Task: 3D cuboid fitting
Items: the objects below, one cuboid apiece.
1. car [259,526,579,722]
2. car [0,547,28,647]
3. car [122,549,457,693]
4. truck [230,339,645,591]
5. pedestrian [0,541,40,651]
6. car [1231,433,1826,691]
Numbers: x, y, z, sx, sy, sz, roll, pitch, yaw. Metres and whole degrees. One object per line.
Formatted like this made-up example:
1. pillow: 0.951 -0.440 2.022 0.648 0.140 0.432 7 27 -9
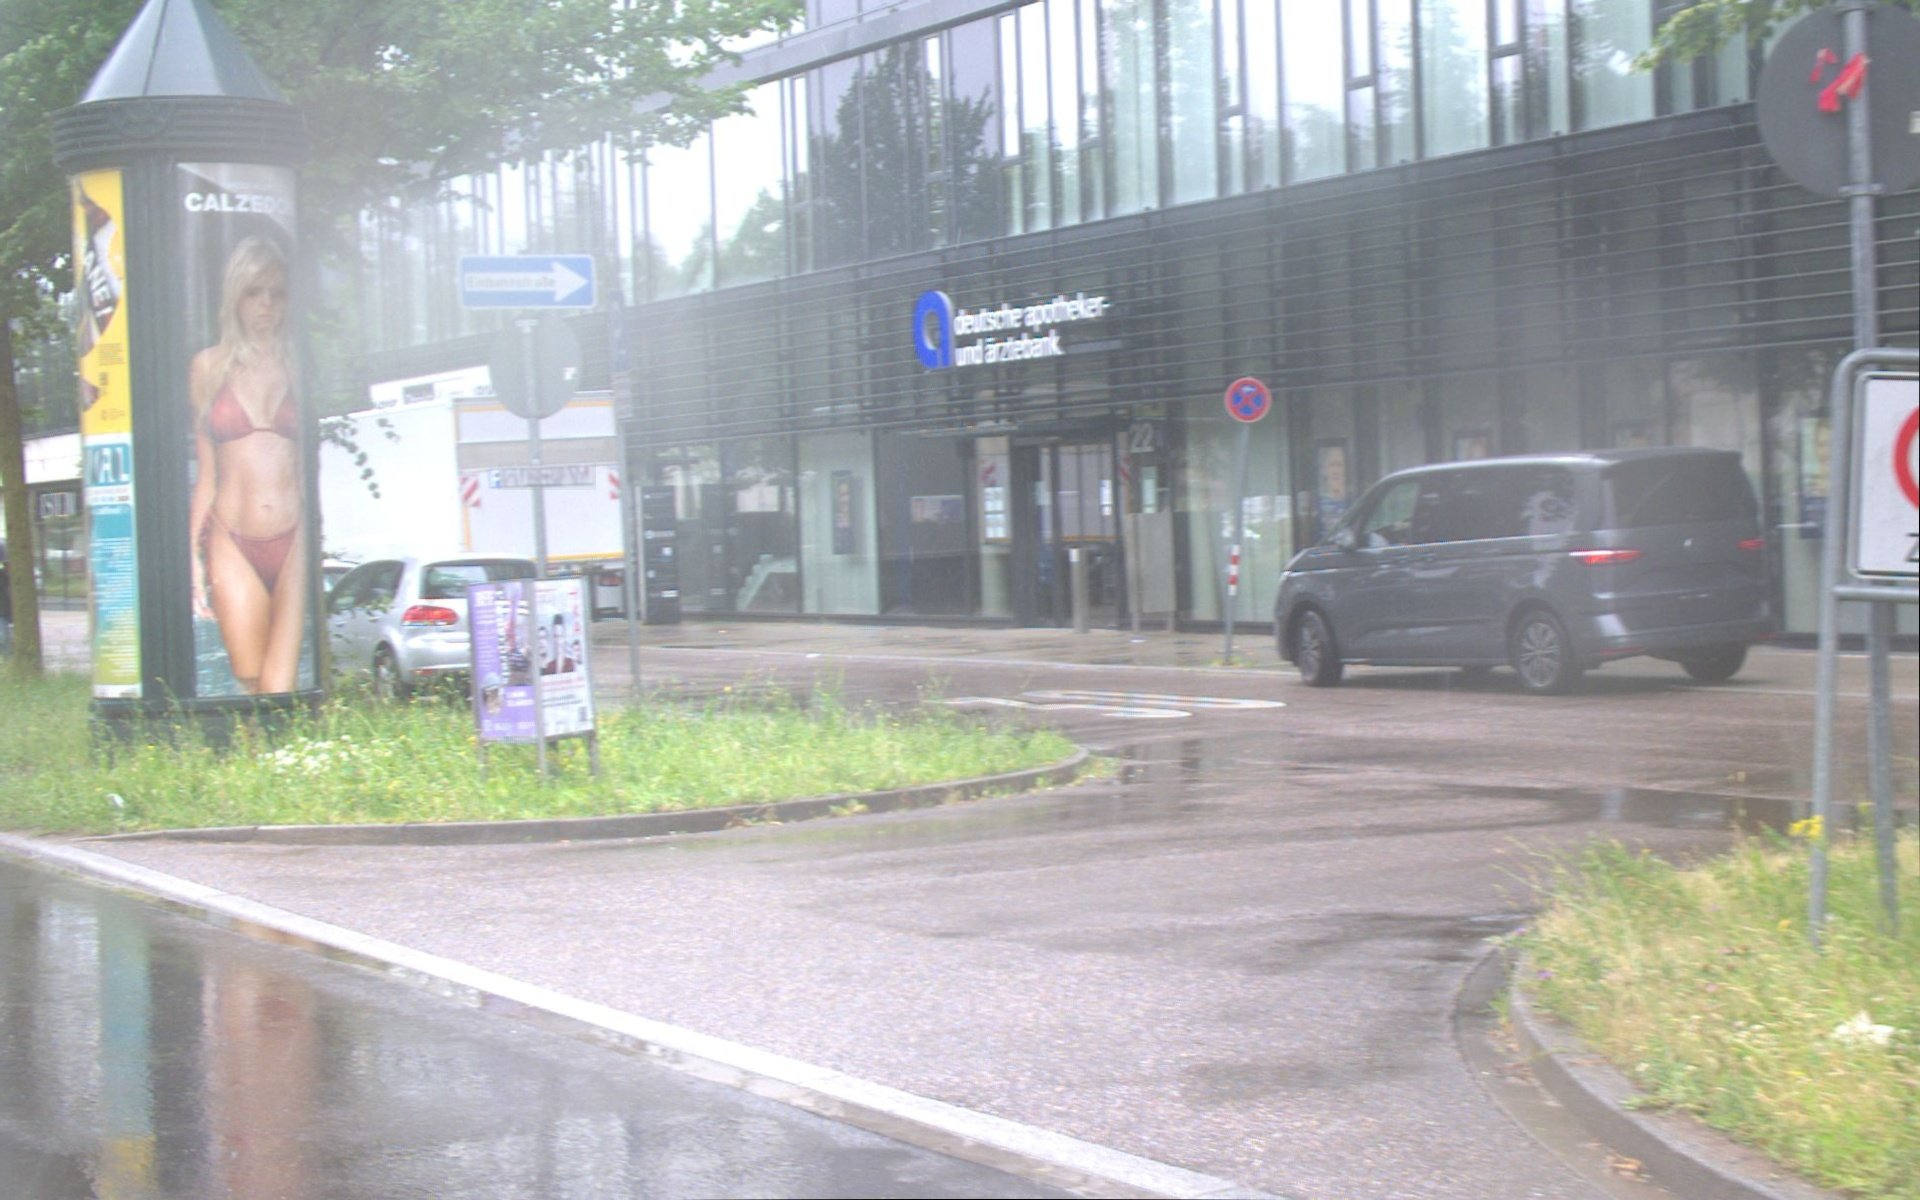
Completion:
1. car: -5.227 0.170 32.820 1.760 1.591 4.101 -3 4 -28
2. car: -15.586 -0.059 51.832 1.769 1.447 4.724 -1 2 -30
3. car: -7.611 0.202 38.568 1.993 1.439 5.237 -2 2 -31
4. truck: -7.959 -1.909 51.223 3.024 3.429 8.548 -2 1 -31
5. pedestrian: -13.182 -0.053 47.506 0.697 1.488 0.644 -2 1 -31
6. car: 4.566 -0.325 28.508 1.993 1.913 5.149 -3 2 -30
